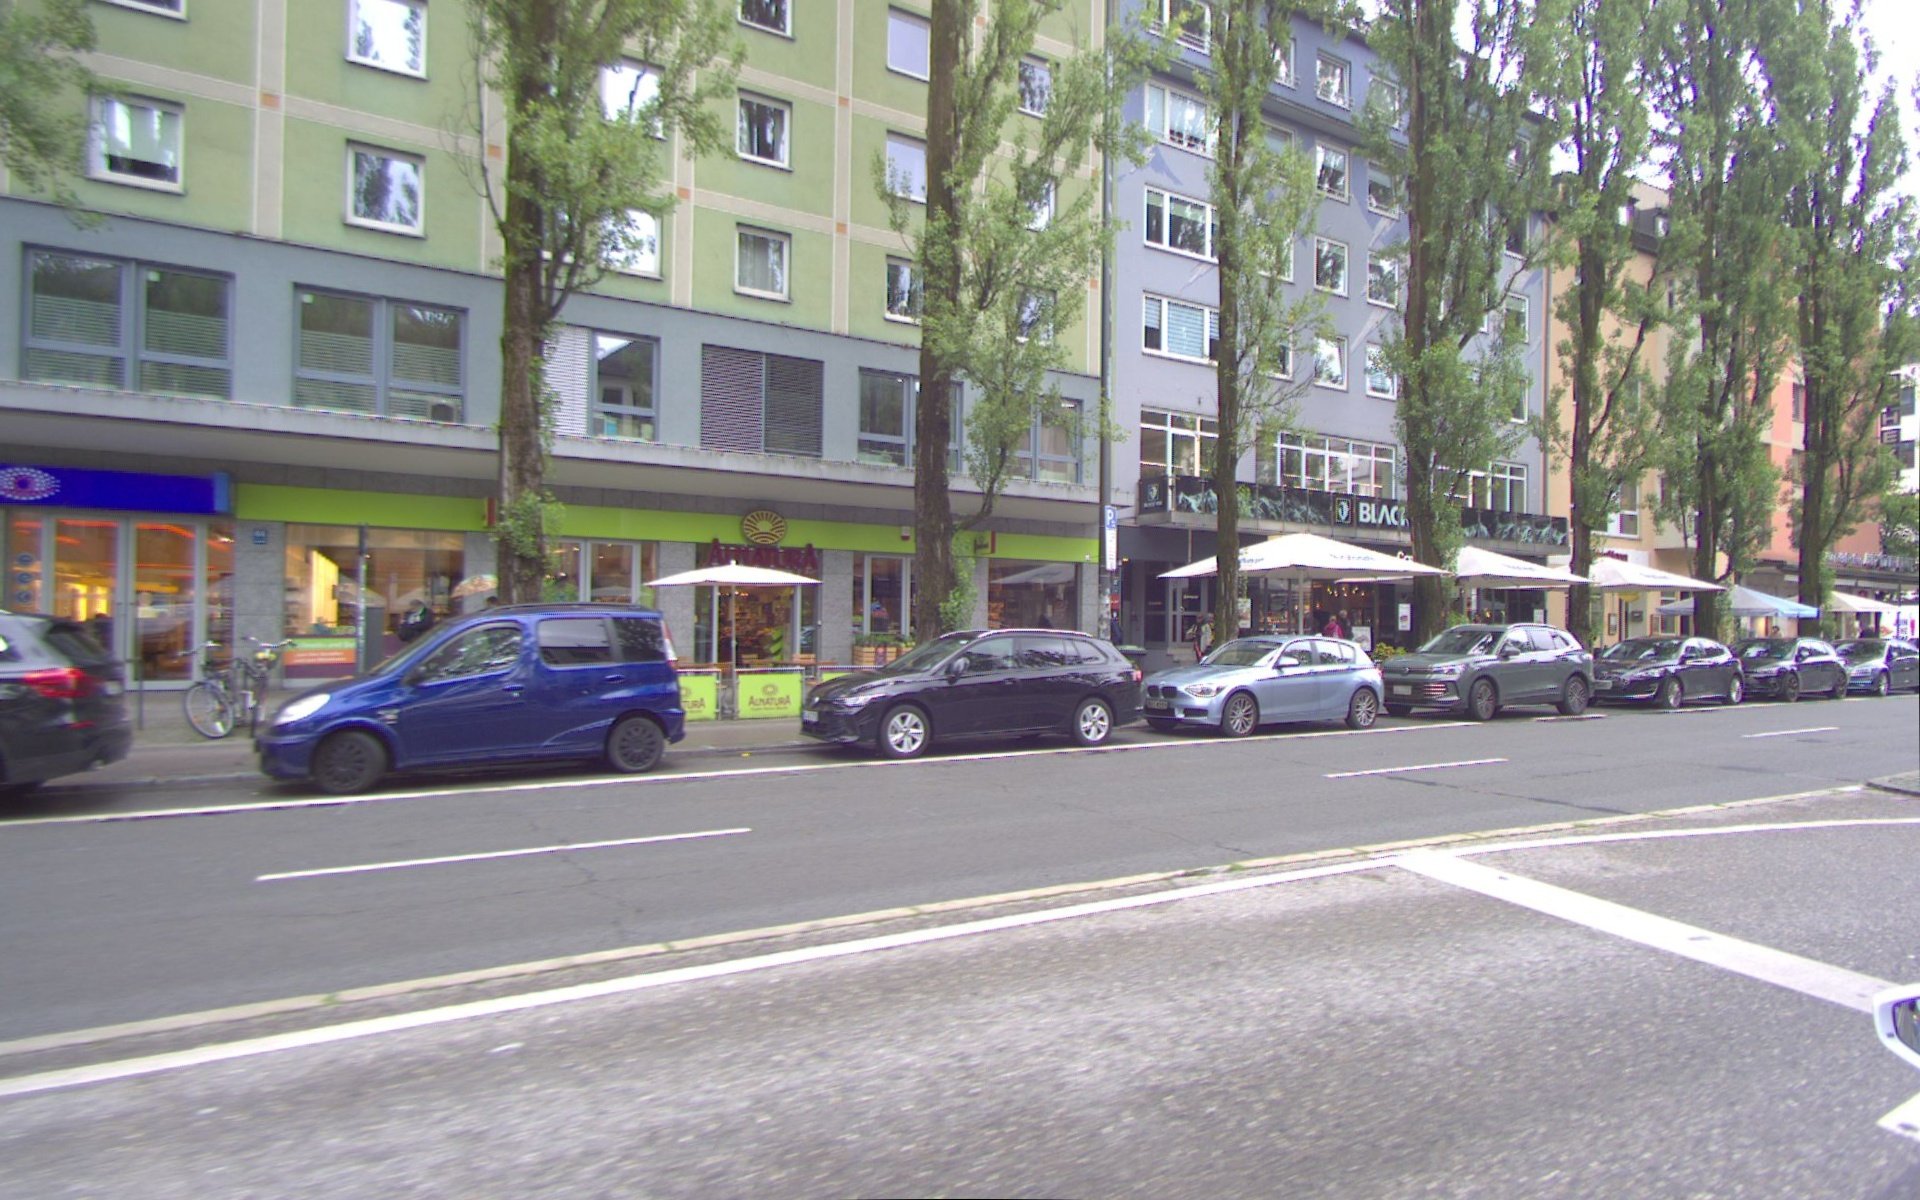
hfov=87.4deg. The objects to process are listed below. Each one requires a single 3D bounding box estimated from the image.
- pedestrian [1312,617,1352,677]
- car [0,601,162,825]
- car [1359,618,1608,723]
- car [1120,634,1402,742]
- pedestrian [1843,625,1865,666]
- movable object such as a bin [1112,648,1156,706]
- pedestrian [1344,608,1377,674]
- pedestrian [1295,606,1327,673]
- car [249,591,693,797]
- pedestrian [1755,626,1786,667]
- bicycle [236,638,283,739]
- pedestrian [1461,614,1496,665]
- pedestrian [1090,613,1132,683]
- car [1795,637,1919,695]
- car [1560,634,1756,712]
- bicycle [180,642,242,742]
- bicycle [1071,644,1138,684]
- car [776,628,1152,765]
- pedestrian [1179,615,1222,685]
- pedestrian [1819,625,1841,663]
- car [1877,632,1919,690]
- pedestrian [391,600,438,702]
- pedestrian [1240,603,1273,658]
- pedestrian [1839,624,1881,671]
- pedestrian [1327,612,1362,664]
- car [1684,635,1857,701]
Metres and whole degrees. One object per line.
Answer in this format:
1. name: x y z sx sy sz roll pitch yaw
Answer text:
1. pedestrian: 10.177 1.280 27.496 0.746 1.623 0.738 1 -1 -27
2. car: -8.886 0.822 7.383 4.450 1.654 1.695 2 -3 -30
3. car: 9.476 1.232 18.127 4.529 1.702 1.773 2 -3 -29
4. car: 4.636 1.267 15.287 4.351 1.436 1.650 2 -3 -31
5. pedestrian: 38.985 1.983 43.795 0.684 1.740 0.552 1 -1 -30
6. movable object such as a bin: 3.343 1.474 19.323 0.716 1.061 0.663 0 -1 21
7. pedestrian: 13.782 1.404 34.591 0.723 2.241 0.777 1 -1 -30
8. pedestrian: 11.918 1.346 34.125 0.684 2.241 0.777 1 -1 -30
9. car: -4.762 0.880 10.080 3.730 1.708 1.609 2 -4 -32
10. pedestrian: 34.130 1.946 42.287 0.793 1.690 0.777 1 -1 -30
11. bicycle: -8.811 1.075 12.662 0.282 1.165 1.646 1 -1 -28
12. pedestrian: 17.090 1.292 33.138 0.746 1.662 0.738 1 -1 -27
13. pedestrian: 3.717 1.166 24.796 0.747 1.695 0.706 1 -1 -29
14. car: 23.678 1.702 26.256 4.137 1.399 1.487 2 -3 -30
15. car: 14.621 1.487 20.993 4.318 1.485 1.669 2 -3 -30
16. bicycle: -9.248 1.098 12.441 0.357 1.130 1.669 1 -1 -28
17. bicycle: 3.758 1.653 26.114 1.827 0.984 0.477 1 -1 -30
18. car: 0.128 1.125 12.709 4.531 1.465 1.695 2 -2 -30
19. pedestrian: 6.288 1.295 26.304 0.746 1.778 0.815 1 -1 -29
20. pedestrian: 38.296 1.920 44.221 0.684 1.660 0.552 1 -1 -30
21. car: 28.309 1.739 28.897 4.047 1.604 1.695 2 -3 -30
22. pedestrian: -9.818 0.903 18.091 0.707 1.778 0.718 1 -1 -29
23. pedestrian: 10.108 1.035 34.253 0.733 1.828 0.778 1 -1 -27
24. pedestrian: 35.358 1.862 39.464 0.975 1.819 0.736 2 0 -11
25. pedestrian: 12.009 1.179 31.375 0.734 1.623 0.750 1 -1 -31
26. car: 19.147 1.572 23.698 4.381 1.431 1.695 2 -3 -30
